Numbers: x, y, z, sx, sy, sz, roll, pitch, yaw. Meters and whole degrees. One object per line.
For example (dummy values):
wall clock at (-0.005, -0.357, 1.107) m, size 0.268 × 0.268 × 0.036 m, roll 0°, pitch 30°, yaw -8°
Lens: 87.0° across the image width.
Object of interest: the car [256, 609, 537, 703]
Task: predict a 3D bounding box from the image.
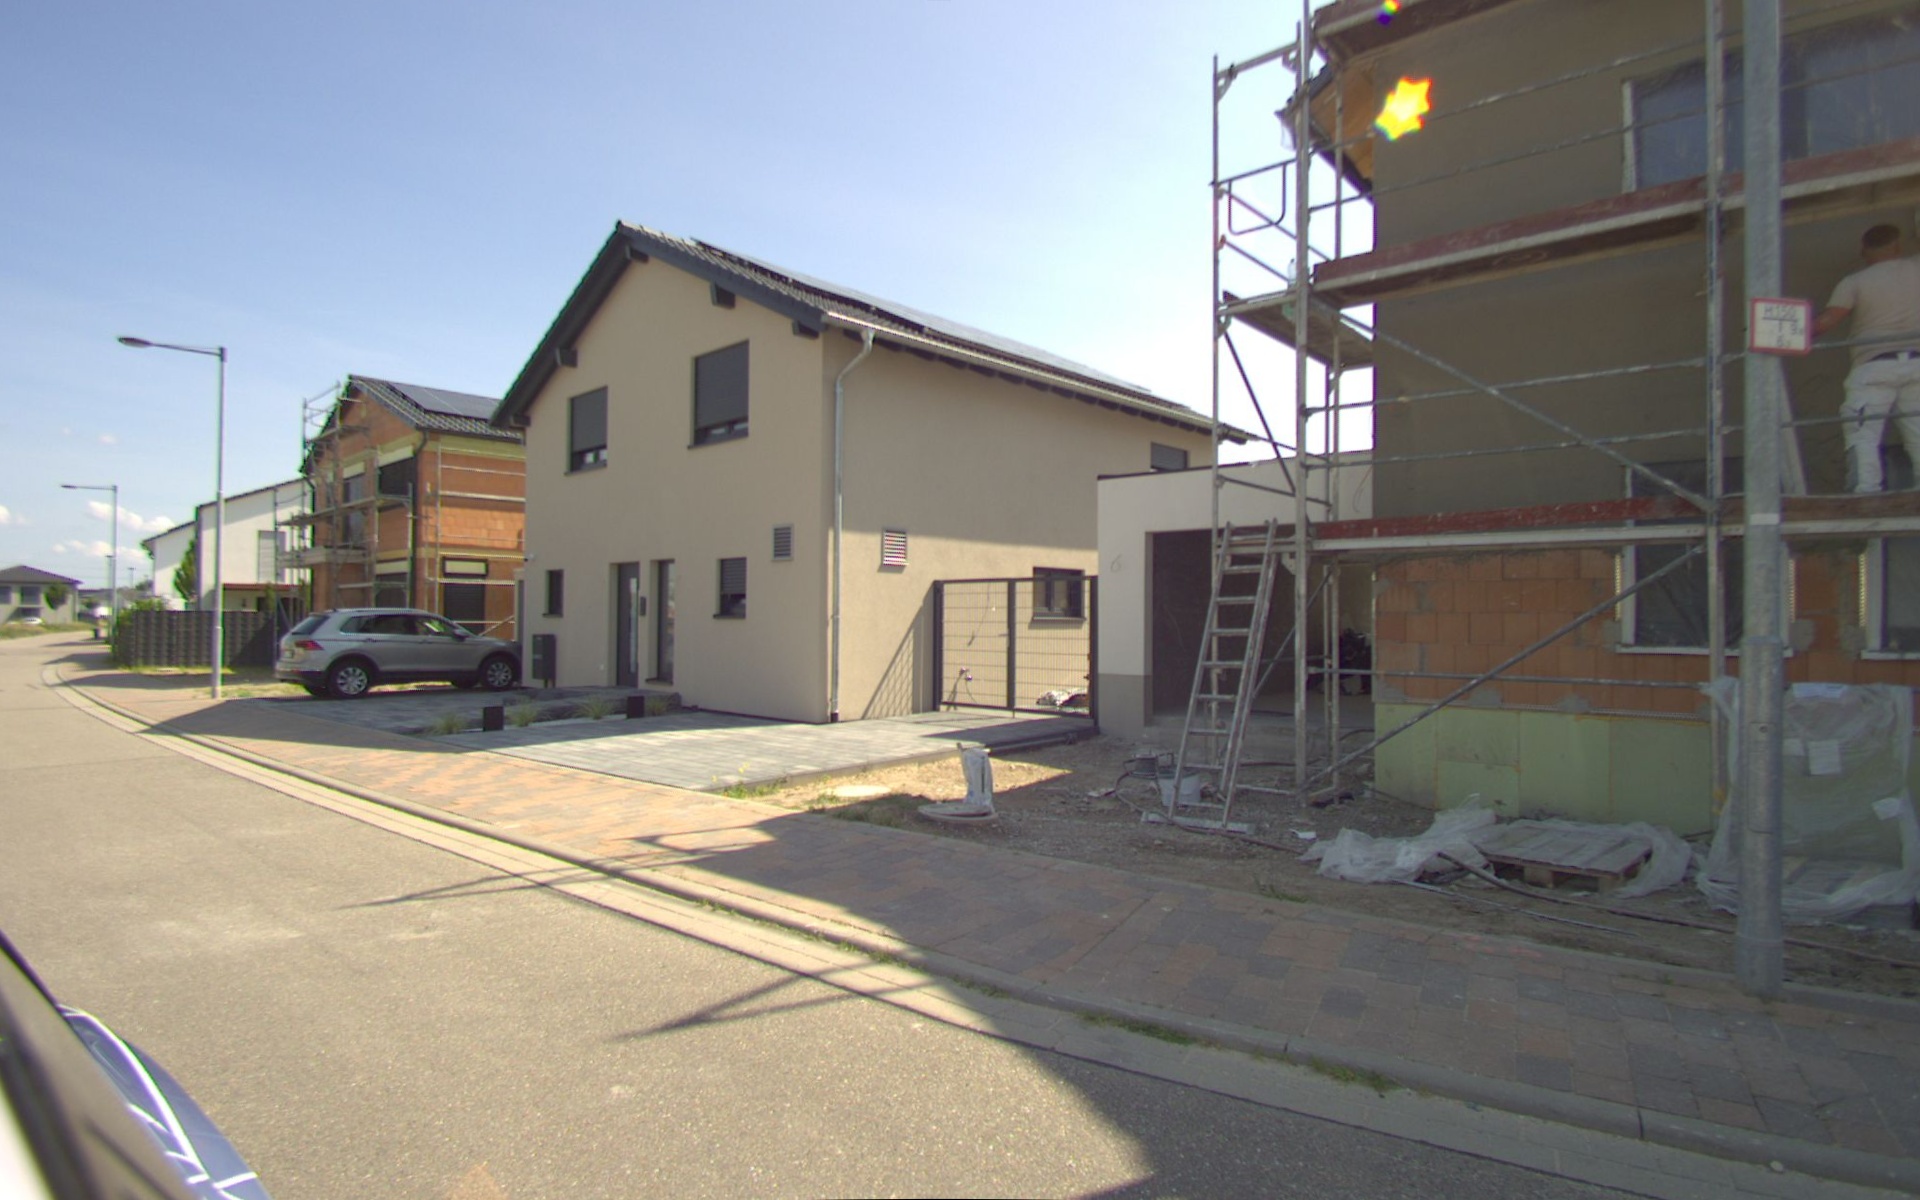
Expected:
car at (-10.865, 1.048, 19.762) m, size 1.999 × 1.624 × 4.378 m, roll -2°, pitch -3°, yaw 41°

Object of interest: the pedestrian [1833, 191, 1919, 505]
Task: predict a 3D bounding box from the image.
pedestrian at (5.620, -1.456, 6.012) m, size 0.577 × 1.692 × 0.739 m, roll 1°, pitch -1°, yaw 37°

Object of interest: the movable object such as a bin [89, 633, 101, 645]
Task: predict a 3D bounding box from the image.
movable object such as a bin at (-64.010, 2.875, 74.905) m, size 0.588 × 0.928 × 0.462 m, roll 1°, pitch -2°, yaw -35°
